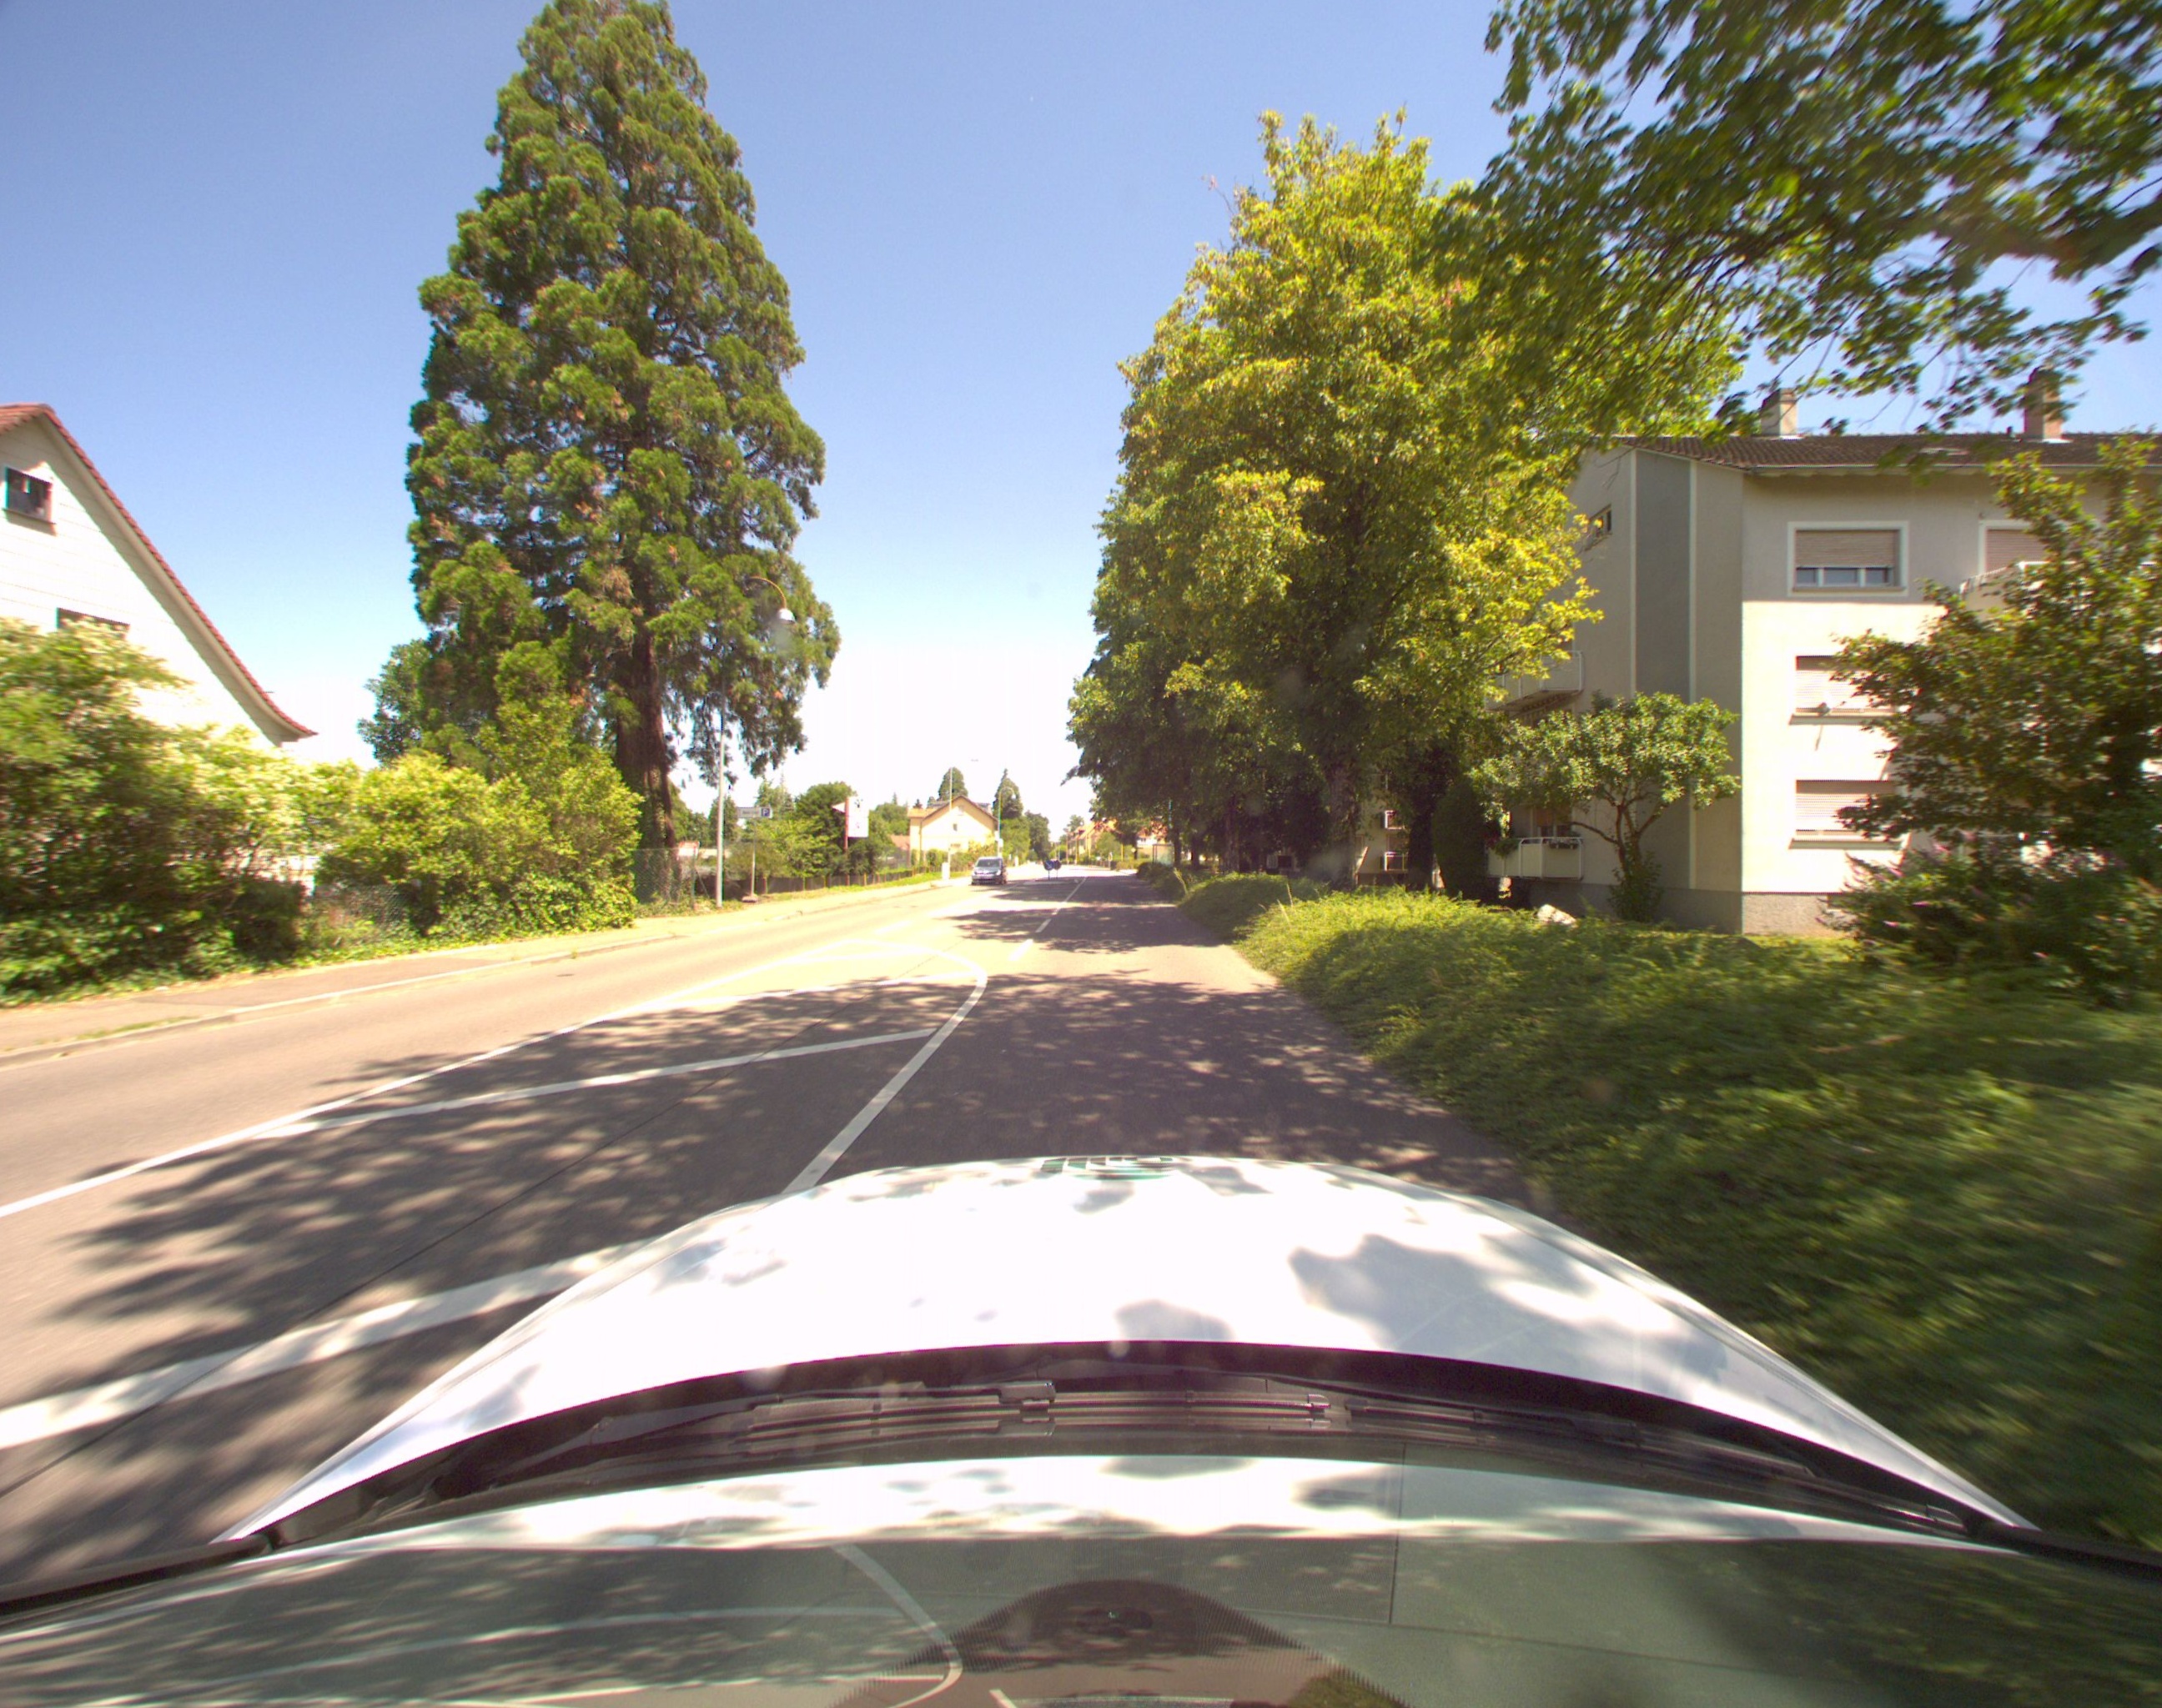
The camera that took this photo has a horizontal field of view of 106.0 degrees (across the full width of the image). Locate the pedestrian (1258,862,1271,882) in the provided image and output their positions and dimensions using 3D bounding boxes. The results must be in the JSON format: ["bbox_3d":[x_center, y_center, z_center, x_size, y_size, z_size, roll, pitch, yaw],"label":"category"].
[{"bbox_3d":[10.992,1.084,48.870,0.700,1.160,0.755,0,0,5],"label":"pedestrian"}]

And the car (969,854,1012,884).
[{"bbox_3d":[-5.251,0.840,47.685,1.905,1.689,4.126,-1,0,1],"label":"car"}]

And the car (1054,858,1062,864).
[{"bbox_3d":[-6.238,1.814,218.896,1.808,1.718,4.003,0,0,3],"label":"car"}]

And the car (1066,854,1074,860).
[{"bbox_3d":[-2.994,0.796,218.821,1.808,1.718,4.003,0,0,3],"label":"car"}]
